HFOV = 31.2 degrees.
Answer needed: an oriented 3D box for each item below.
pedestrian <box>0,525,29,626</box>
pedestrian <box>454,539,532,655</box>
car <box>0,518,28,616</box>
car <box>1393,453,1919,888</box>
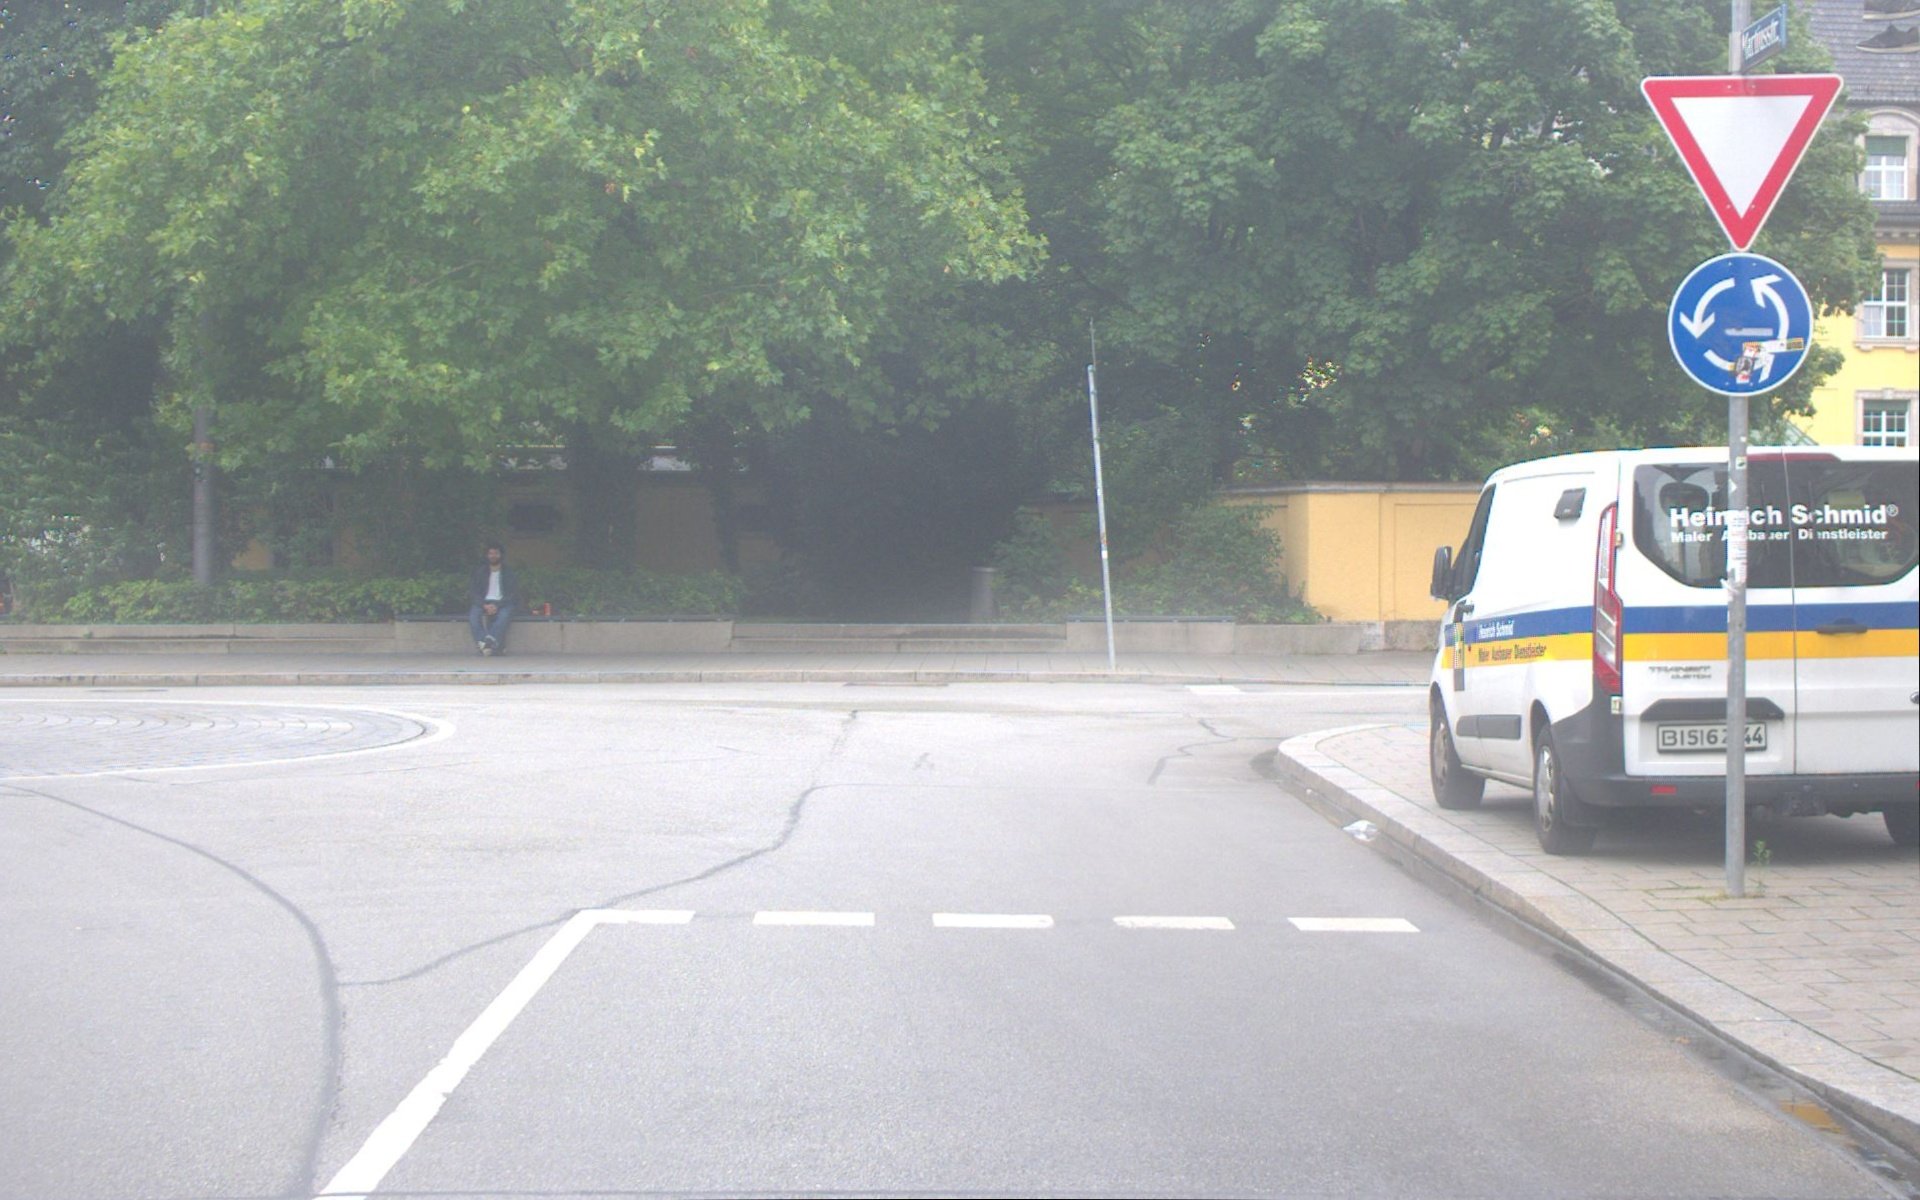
[{"bbox_3d":[-15.817,-0.412,56.891,0.633,1.661,0.697,-1,1,-31],"label":"pedestrian"},{"bbox_3d":[-5.532,-0.047,40.791,0.769,1.352,1.131,0,1,0],"label":"pedestrian"},{"bbox_3d":[-20.204,-0.689,70.168,1.911,1.930,4.970,0,1,-11],"label":"car"},{"bbox_3d":[3.671,0.259,18.041,1.938,1.915,5.375,-1,1,-2],"label":"car"}]
